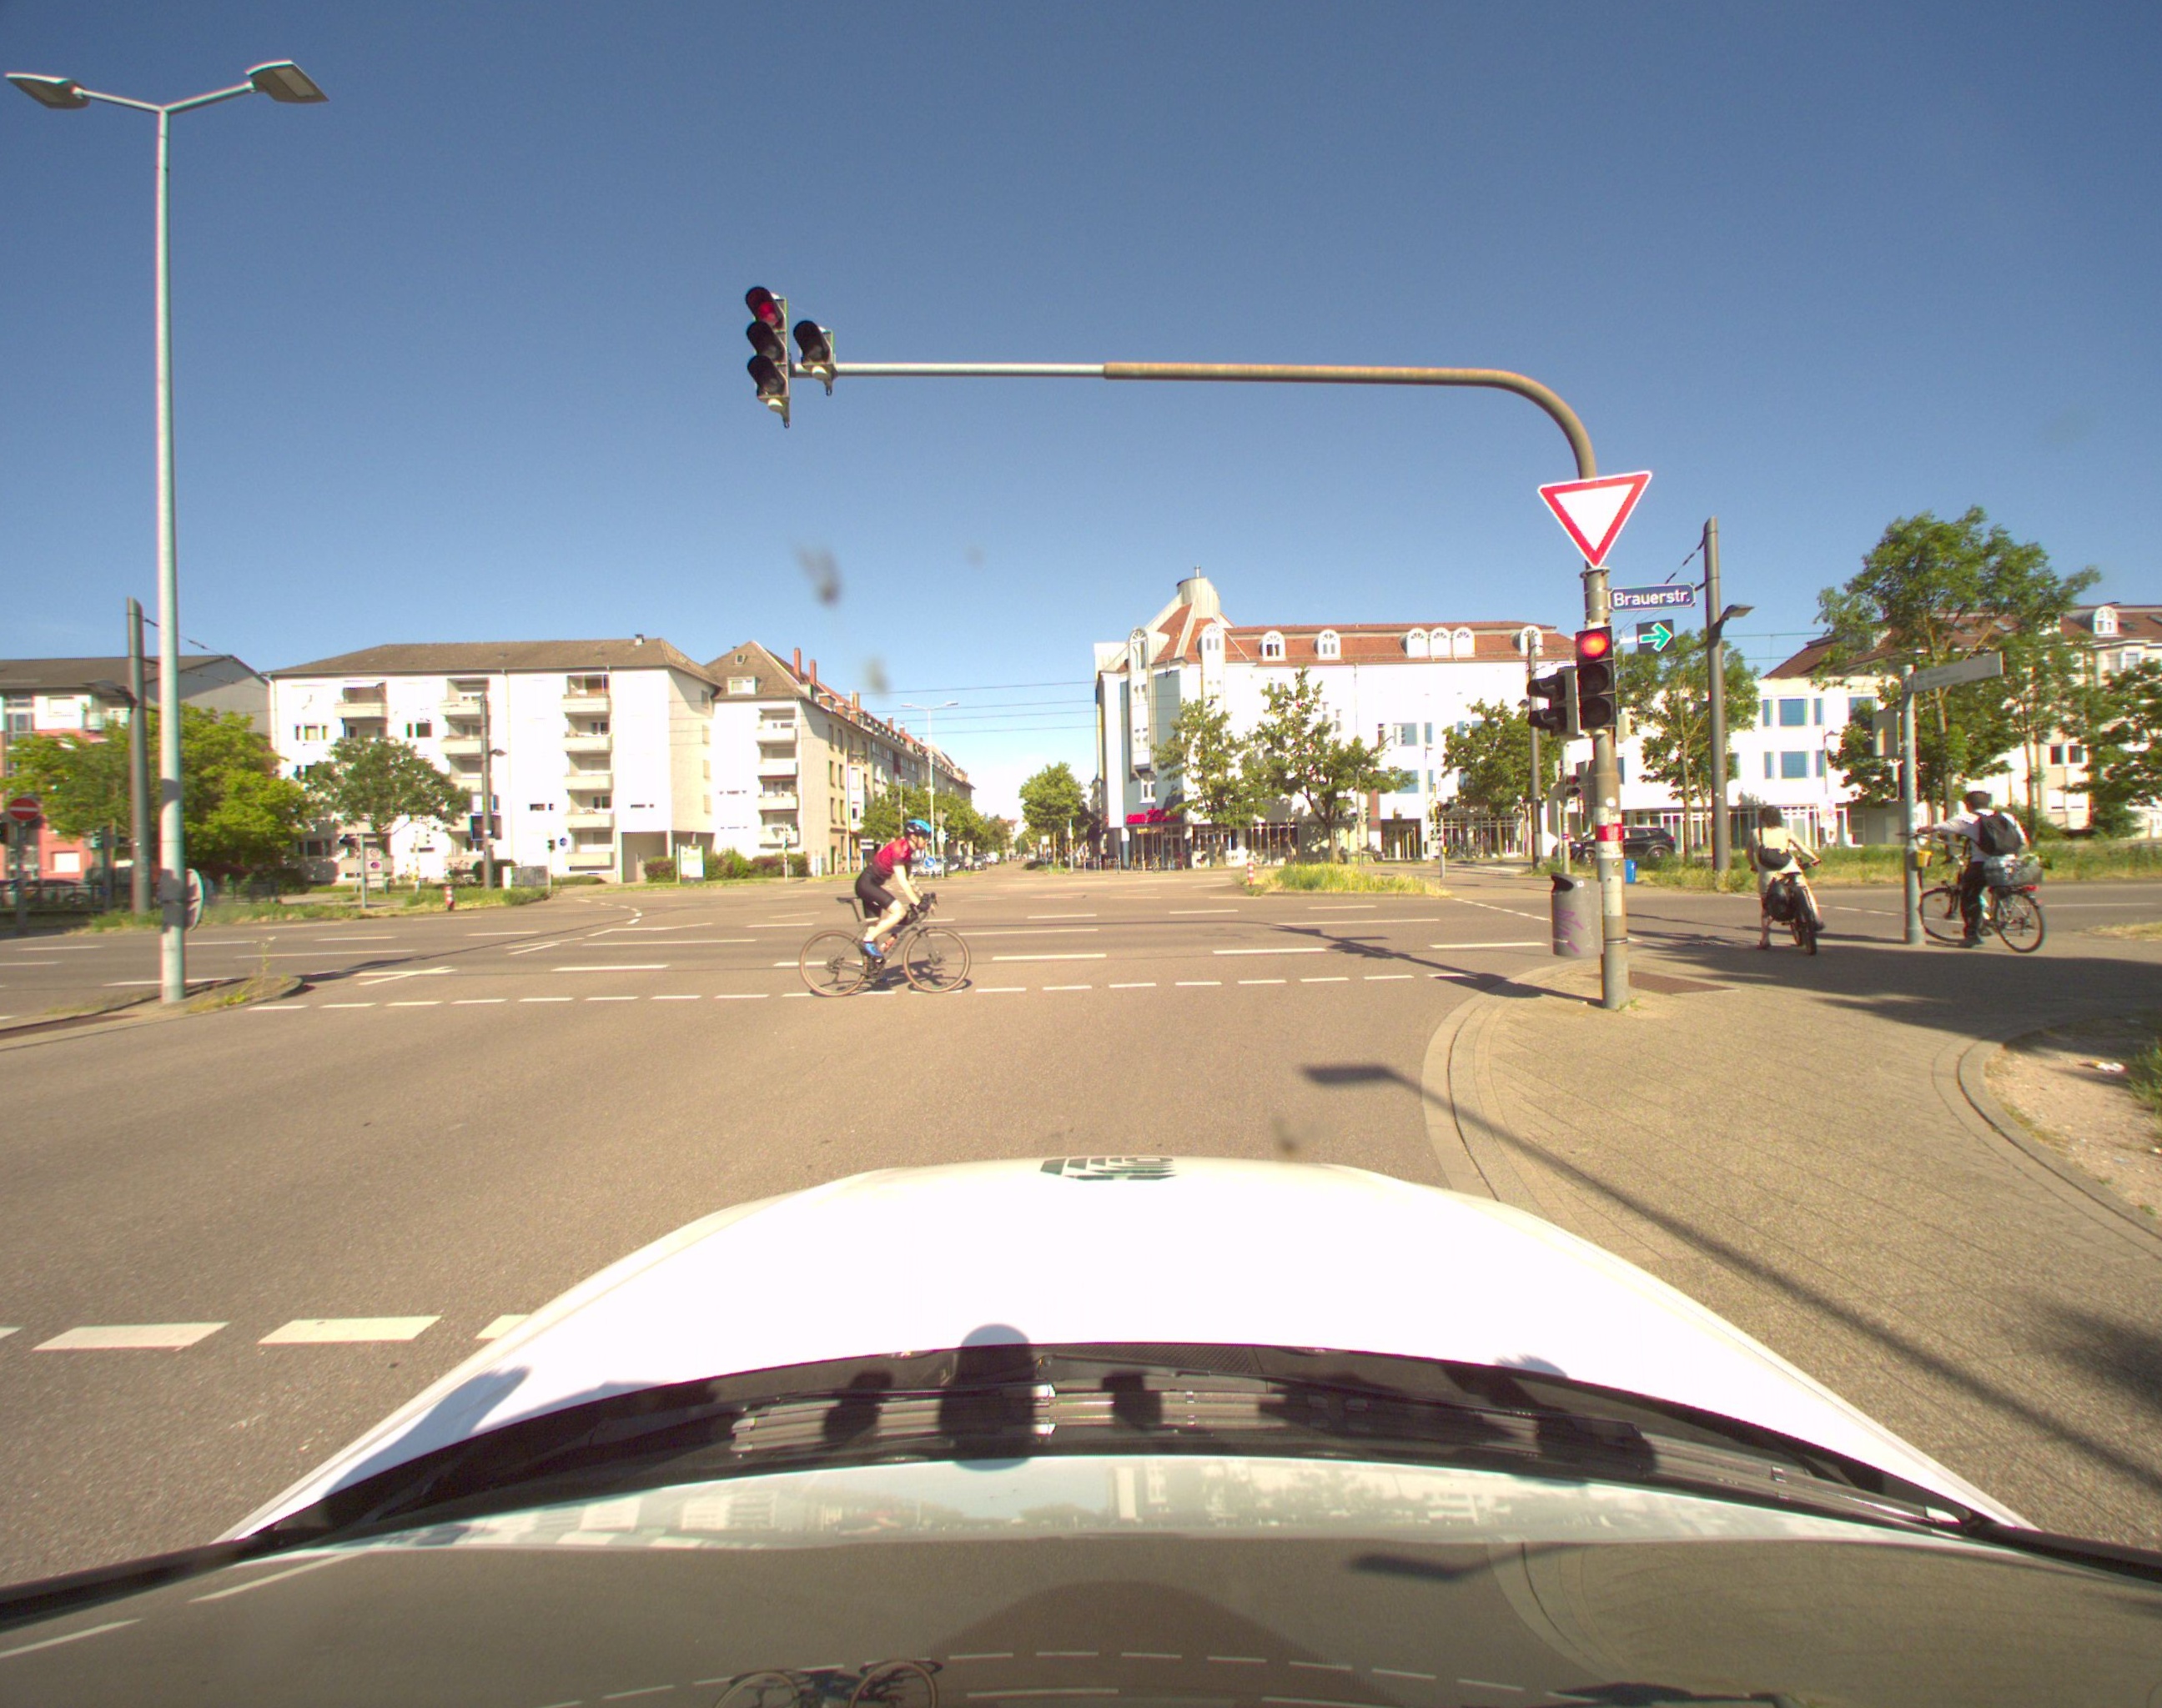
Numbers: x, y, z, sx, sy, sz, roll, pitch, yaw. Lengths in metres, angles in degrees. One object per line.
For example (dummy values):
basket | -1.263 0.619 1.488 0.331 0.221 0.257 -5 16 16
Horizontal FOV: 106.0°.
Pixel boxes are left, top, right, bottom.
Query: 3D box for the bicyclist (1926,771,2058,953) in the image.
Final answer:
bicyclist | 10.475 0.089 9.410 0.782 1.959 1.017 -2 0 38

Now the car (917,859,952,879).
car | -10.772 1.064 60.323 1.682 1.432 4.400 1 0 1

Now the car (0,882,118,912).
car | -54.716 2.239 43.301 1.672 1.432 4.427 0 0 38

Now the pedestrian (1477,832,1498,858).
pedestrian | 27.307 -0.616 54.709 0.987 1.723 0.654 -2 0 -2

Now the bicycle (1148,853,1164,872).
bicycle | 4.192 0.468 45.817 0.471 1.027 1.510 -2 0 -11

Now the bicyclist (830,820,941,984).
bicyclist | -1.998 0.471 8.439 1.001 1.585 0.671 -2 0 -9

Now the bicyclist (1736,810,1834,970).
bicyclist | 8.592 0.413 9.987 0.782 1.824 1.143 -2 0 38

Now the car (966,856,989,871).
car | -10.409 0.965 81.892 1.682 1.432 4.399 1 0 0

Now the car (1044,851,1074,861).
car | -2.686 0.240 99.159 3.563 1.223 1.727 -1 -1 -6

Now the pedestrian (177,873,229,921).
pedestrian | -29.019 1.408 26.926 0.723 1.533 0.857 -2 0 -5

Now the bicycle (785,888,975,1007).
bicycle | -2.028 0.934 8.434 1.805 1.055 0.671 -2 0 -9

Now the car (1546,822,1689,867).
car | 21.919 -0.378 33.461 4.474 1.609 2.005 -2 0 9

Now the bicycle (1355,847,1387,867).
bicycle | 18.640 0.177 52.372 1.860 1.182 0.561 -2 0 -5

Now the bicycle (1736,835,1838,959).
bicycle | 8.609 0.464 10.012 0.782 1.348 2.092 -2 0 38

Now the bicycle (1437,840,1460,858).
bicycle | 24.304 -0.319 53.896 0.559 1.182 1.869 -2 0 -1

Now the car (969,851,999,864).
car | -15.415 0.617 129.906 4.495 2.014 1.998 -1 -1 -3

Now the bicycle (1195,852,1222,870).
bicycle | 7.536 0.408 48.101 1.502 1.027 0.474 -2 0 10

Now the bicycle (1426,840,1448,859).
bicycle | 23.406 -0.298 53.580 0.559 1.182 1.869 -2 0 -1

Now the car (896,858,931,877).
car | -13.006 1.051 63.494 1.681 1.432 4.402 1 0 2

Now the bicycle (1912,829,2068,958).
bicycle | 10.666 0.395 9.653 0.782 1.348 2.277 -2 0 38

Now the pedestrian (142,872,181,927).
pedestrian | -30.069 1.462 26.638 1.139 1.726 0.818 -2 0 41

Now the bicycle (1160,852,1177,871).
bicycle | 4.964 0.422 46.343 0.472 1.027 1.510 -2 0 -12

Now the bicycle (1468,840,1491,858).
bicycle | 26.171 -0.326 53.494 0.558 1.182 1.870 -2 0 2

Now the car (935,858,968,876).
car | -10.615 1.040 67.131 1.680 1.432 4.404 1 0 4

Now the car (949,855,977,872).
car | -10.553 0.842 73.105 1.681 1.432 4.402 1 0 2
